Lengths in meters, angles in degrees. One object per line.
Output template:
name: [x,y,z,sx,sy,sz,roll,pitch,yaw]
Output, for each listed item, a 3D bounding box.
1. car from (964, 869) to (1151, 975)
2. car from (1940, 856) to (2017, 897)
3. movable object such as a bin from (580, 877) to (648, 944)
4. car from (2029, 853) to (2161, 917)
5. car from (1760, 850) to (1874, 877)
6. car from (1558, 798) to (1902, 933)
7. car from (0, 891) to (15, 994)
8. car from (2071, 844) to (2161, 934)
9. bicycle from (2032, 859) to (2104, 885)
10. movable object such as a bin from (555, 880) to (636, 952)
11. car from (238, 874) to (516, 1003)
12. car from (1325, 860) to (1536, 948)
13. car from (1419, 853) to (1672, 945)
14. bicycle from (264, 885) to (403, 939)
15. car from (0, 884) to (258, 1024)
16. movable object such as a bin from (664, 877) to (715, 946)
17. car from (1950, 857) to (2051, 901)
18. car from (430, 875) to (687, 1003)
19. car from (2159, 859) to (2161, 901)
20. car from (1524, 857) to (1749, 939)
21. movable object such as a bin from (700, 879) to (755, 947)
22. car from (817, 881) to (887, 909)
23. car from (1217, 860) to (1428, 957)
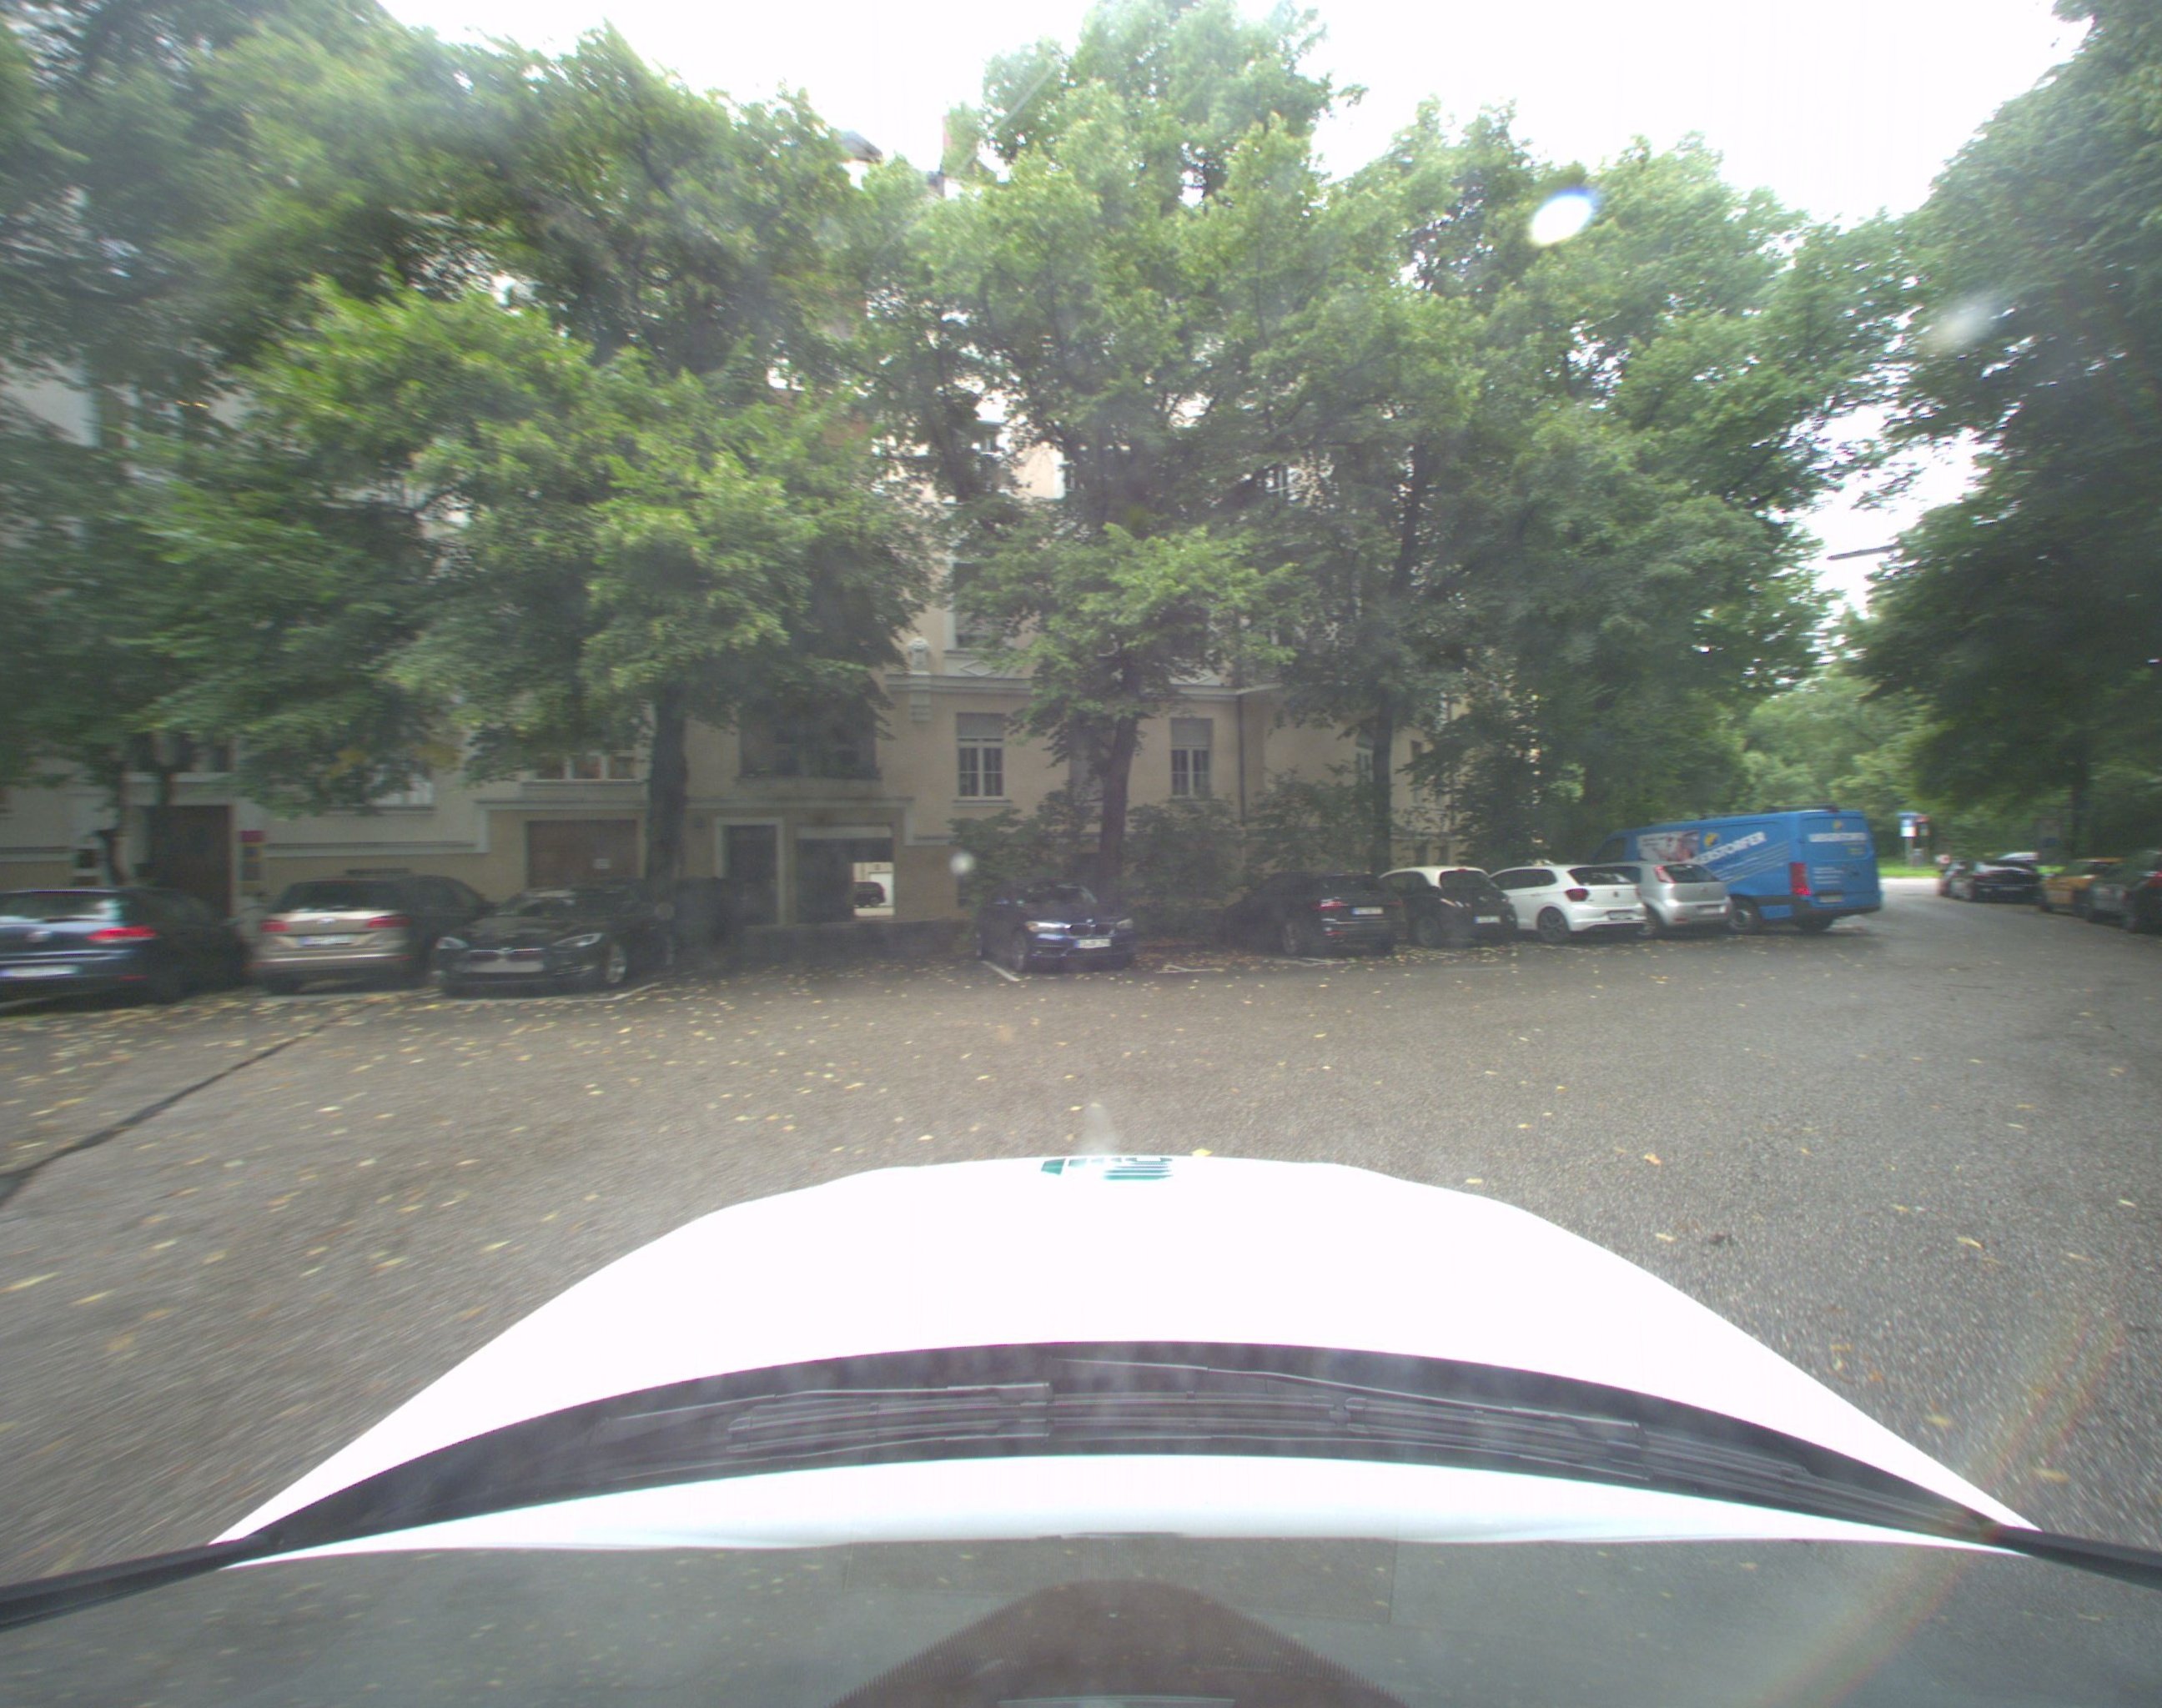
car: [-0.589,1.001,13.372,1.845,1.383,4.313,-1,-2,-19]
car: [33.919,0.815,30.870,1.632,1.474,3.665,-2,-1,43]
movable object such as a bin: [-10.058,1.197,17.589,1.120,1.348,0.859,0,-1,-18]
car: [24.959,0.689,19.855,1.602,1.412,3.804,-1,-1,37]
car: [42.355,0.542,46.954,1.853,1.496,4.758,0,-1,-44]
car: [13.121,0.344,17.131,2.061,2.355,5.469,-1,-3,-13]
car: [-14.907,1.224,9.809,1.733,1.431,3.952,0,-1,-41]
car: [21.593,0.610,16.083,1.814,1.629,4.553,-1,-1,41]
bicycle: [38.099,0.690,31.450,0.274,0.982,1.737,0,-2,-40]
movable object such as a bin: [-9.726,1.217,16.369,1.153,1.348,1.149,0,0,-18]
car: [-10.074,1.078,12.096,1.845,1.530,3.996,-1,-1,-21]
car: [6.526,0.991,15.707,1.830,1.426,3.731,-1,-5,-14]
car: [8.857,0.937,16.050,1.801,1.514,4.262,-1,-5,-15]
bicycle: [-16.531,1.269,18.066,2.233,1.115,0.573,0,-1,-16]
car: [-12.513,1.156,10.691,1.805,1.431,3.955,0,-1,-36]
movable object such as a bin: [-8.128,1.160,16.976,0.714,1.348,1.366,-1,-1,-16]
car: [31.093,0.805,27.652,1.665,1.358,4.034,-1,0,40]
car: [-7.135,1.097,11.690,1.706,1.467,4.268,0,-3,-13]
car: [18.403,0.737,12.093,1.880,1.413,4.457,-3,-2,40]
car: [10.930,0.848,16.338,1.640,1.433,3.537,-1,-2,-13]
movable object such as a bin: [-7.307,1.192,16.896,0.864,1.305,1.423,1,-1,-17]
car: [-13.614,2.438,48.419,3.858,1.518,1.645,0,-1,-21]
car: [4.079,0.943,14.597,1.859,1.426,4.145,-1,-3,-12]
